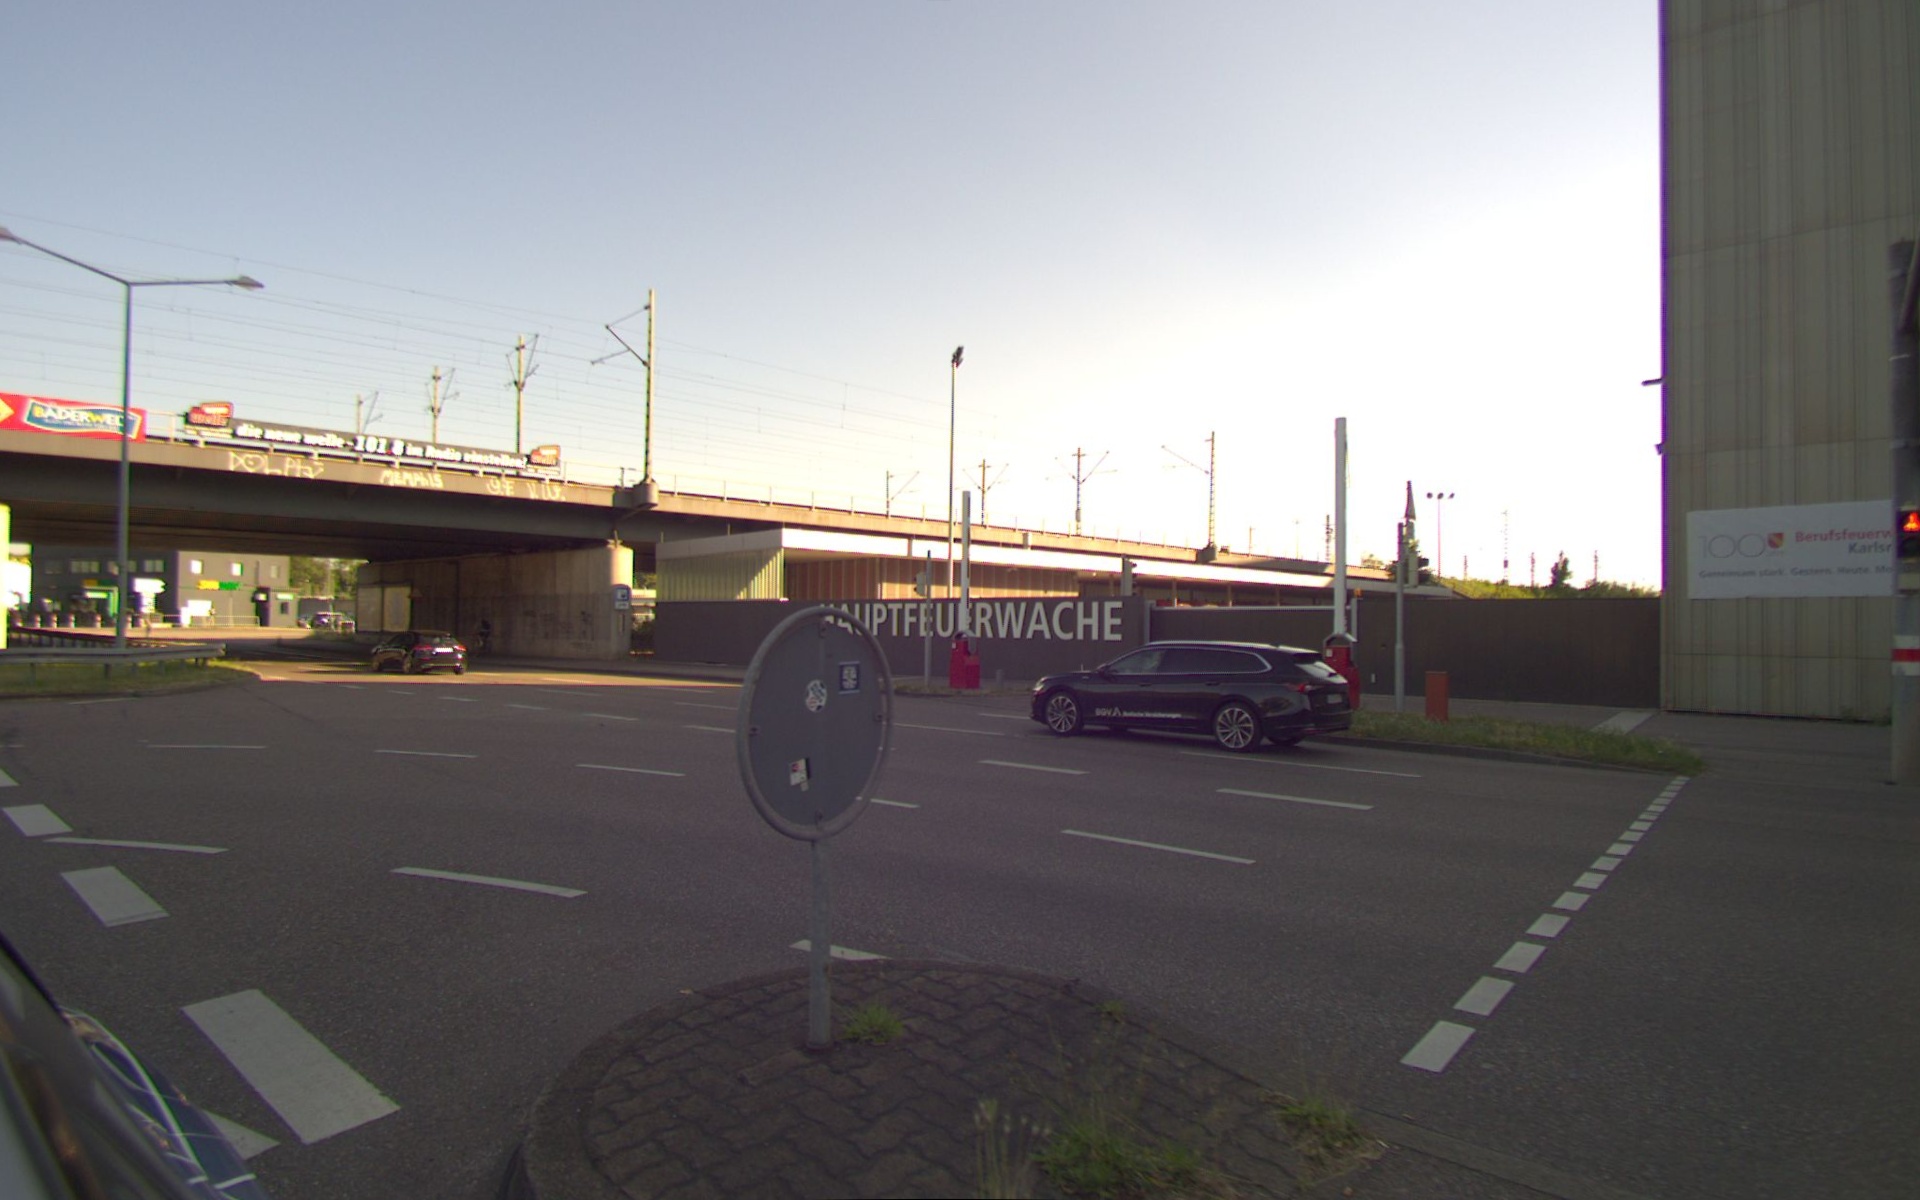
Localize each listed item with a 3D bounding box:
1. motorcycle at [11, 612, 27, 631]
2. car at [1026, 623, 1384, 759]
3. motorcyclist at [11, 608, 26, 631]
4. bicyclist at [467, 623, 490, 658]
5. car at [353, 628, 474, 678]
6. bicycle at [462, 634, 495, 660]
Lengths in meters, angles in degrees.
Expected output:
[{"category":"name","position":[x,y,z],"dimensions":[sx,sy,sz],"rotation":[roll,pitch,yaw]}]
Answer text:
[{"category":"motorcycle","position":[-60.896,1.369,65.484],"dimensions":[2.240,1.165,0.673],"rotation":[0,0,45]},{"category":"car","position":[3.475,1.243,14.868],"dimensions":[4.711,1.604,1.973],"rotation":[0,-5,40]},{"category":"motorcyclist","position":[-60.901,1.258,65.488],"dimensions":[0.868,1.434,0.673],"rotation":[0,0,44]},{"category":"bicyclist","position":[-22.254,1.844,46.751],"dimensions":[0.716,1.575,0.940],"rotation":[0,0,-45]},{"category":"car","position":[-18.179,1.755,33.601],"dimensions":[4.345,1.411,1.973],"rotation":[0,-5,40]},{"category":"bicycle","position":[-22.240,2.176,46.737],"dimensions":[0.697,1.165,2.082],"rotation":[0,-2,-45]}]
